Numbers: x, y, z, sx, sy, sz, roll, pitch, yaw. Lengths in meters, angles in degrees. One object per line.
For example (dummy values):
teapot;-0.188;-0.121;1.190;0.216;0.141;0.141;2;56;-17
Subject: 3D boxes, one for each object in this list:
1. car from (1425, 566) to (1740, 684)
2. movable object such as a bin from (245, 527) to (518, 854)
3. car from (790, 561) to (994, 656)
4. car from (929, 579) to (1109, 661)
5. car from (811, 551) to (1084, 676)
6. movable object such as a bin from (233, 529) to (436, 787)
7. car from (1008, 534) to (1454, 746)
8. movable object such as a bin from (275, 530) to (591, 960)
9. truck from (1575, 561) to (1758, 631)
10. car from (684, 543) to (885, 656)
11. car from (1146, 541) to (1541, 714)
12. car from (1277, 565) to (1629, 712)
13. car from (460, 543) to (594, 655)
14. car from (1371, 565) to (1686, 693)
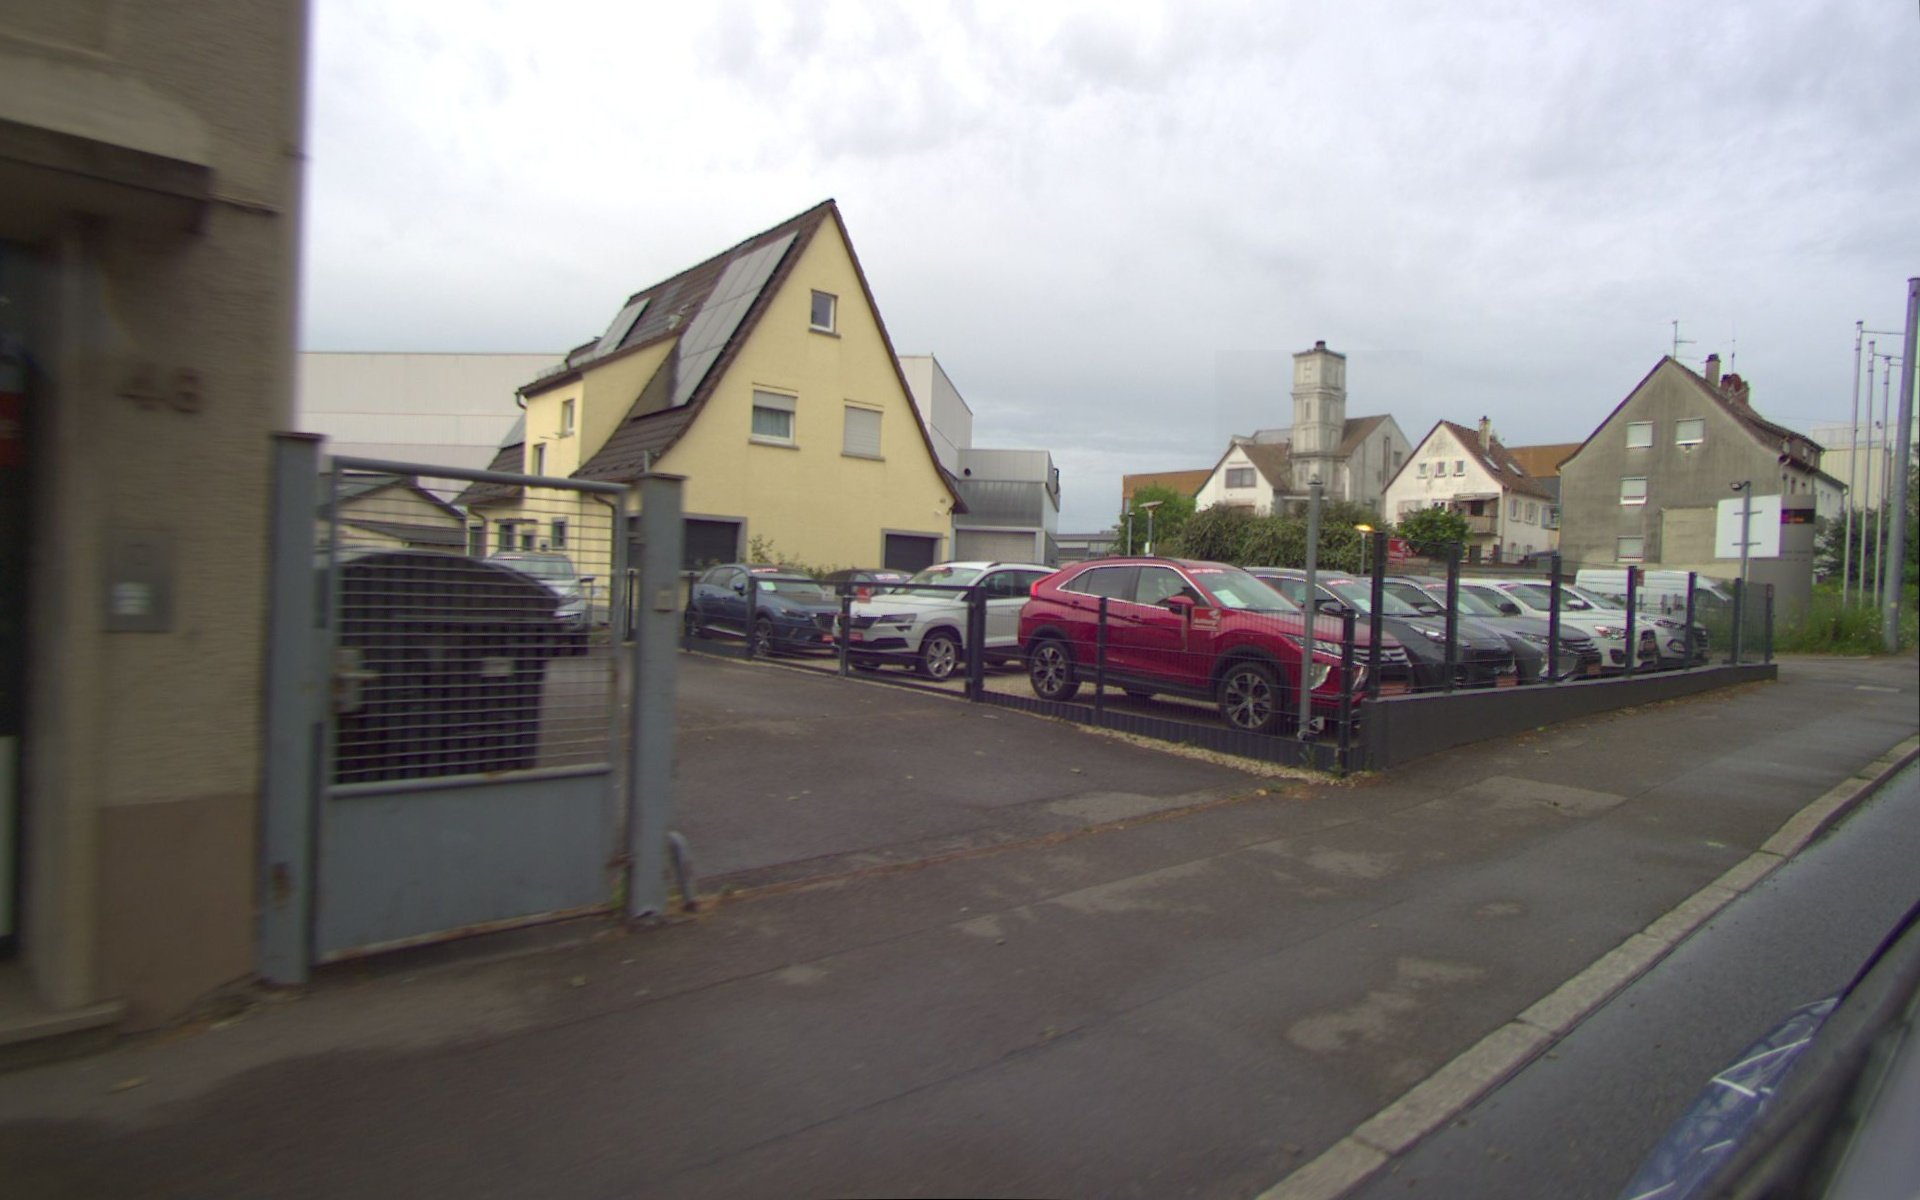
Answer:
car;10.716;0.342;17.673;1.965;1.790;4.311;-1;1;-40
movable object such as a bin;-3.194;0.385;5.571;1.092;1.527;1.237;-1;4;-41
car;-1.397;0.125;19.400;1.764;1.620;4.090;-1;1;-41
car;1.148;0.369;21.210;1.726;1.551;3.773;-1;0;-37
car;-0.114;0.125;14.393;3.565;1.549;1.811;-2;1;-41
movable object such as a bin;-4.184;0.308;6.764;0.992;1.527;1.113;-1;4;-41
car;2.613;0.301;10.605;1.837;1.758;4.236;-1;1;-40
movable object such as a bin;-2.277;0.485;4.345;0.970;1.527;1.113;-1;4;-41
truck;28.913;-0.184;41.614;2.008;2.670;5.855;-1;1;-40
car;-3.097;-0.032;17.322;1.741;1.704;3.777;-1;1;-39
car;4.551;0.252;12.538;1.837;1.758;4.236;-1;1;-40
car;6.786;0.430;14.274;1.837;1.758;4.074;-1;1;-40
car;-7.095;-0.052;16.678;1.783;1.613;4.008;-1;1;-23
car;8.784;0.378;15.901;1.760;1.746;3.956;-1;1;-40
